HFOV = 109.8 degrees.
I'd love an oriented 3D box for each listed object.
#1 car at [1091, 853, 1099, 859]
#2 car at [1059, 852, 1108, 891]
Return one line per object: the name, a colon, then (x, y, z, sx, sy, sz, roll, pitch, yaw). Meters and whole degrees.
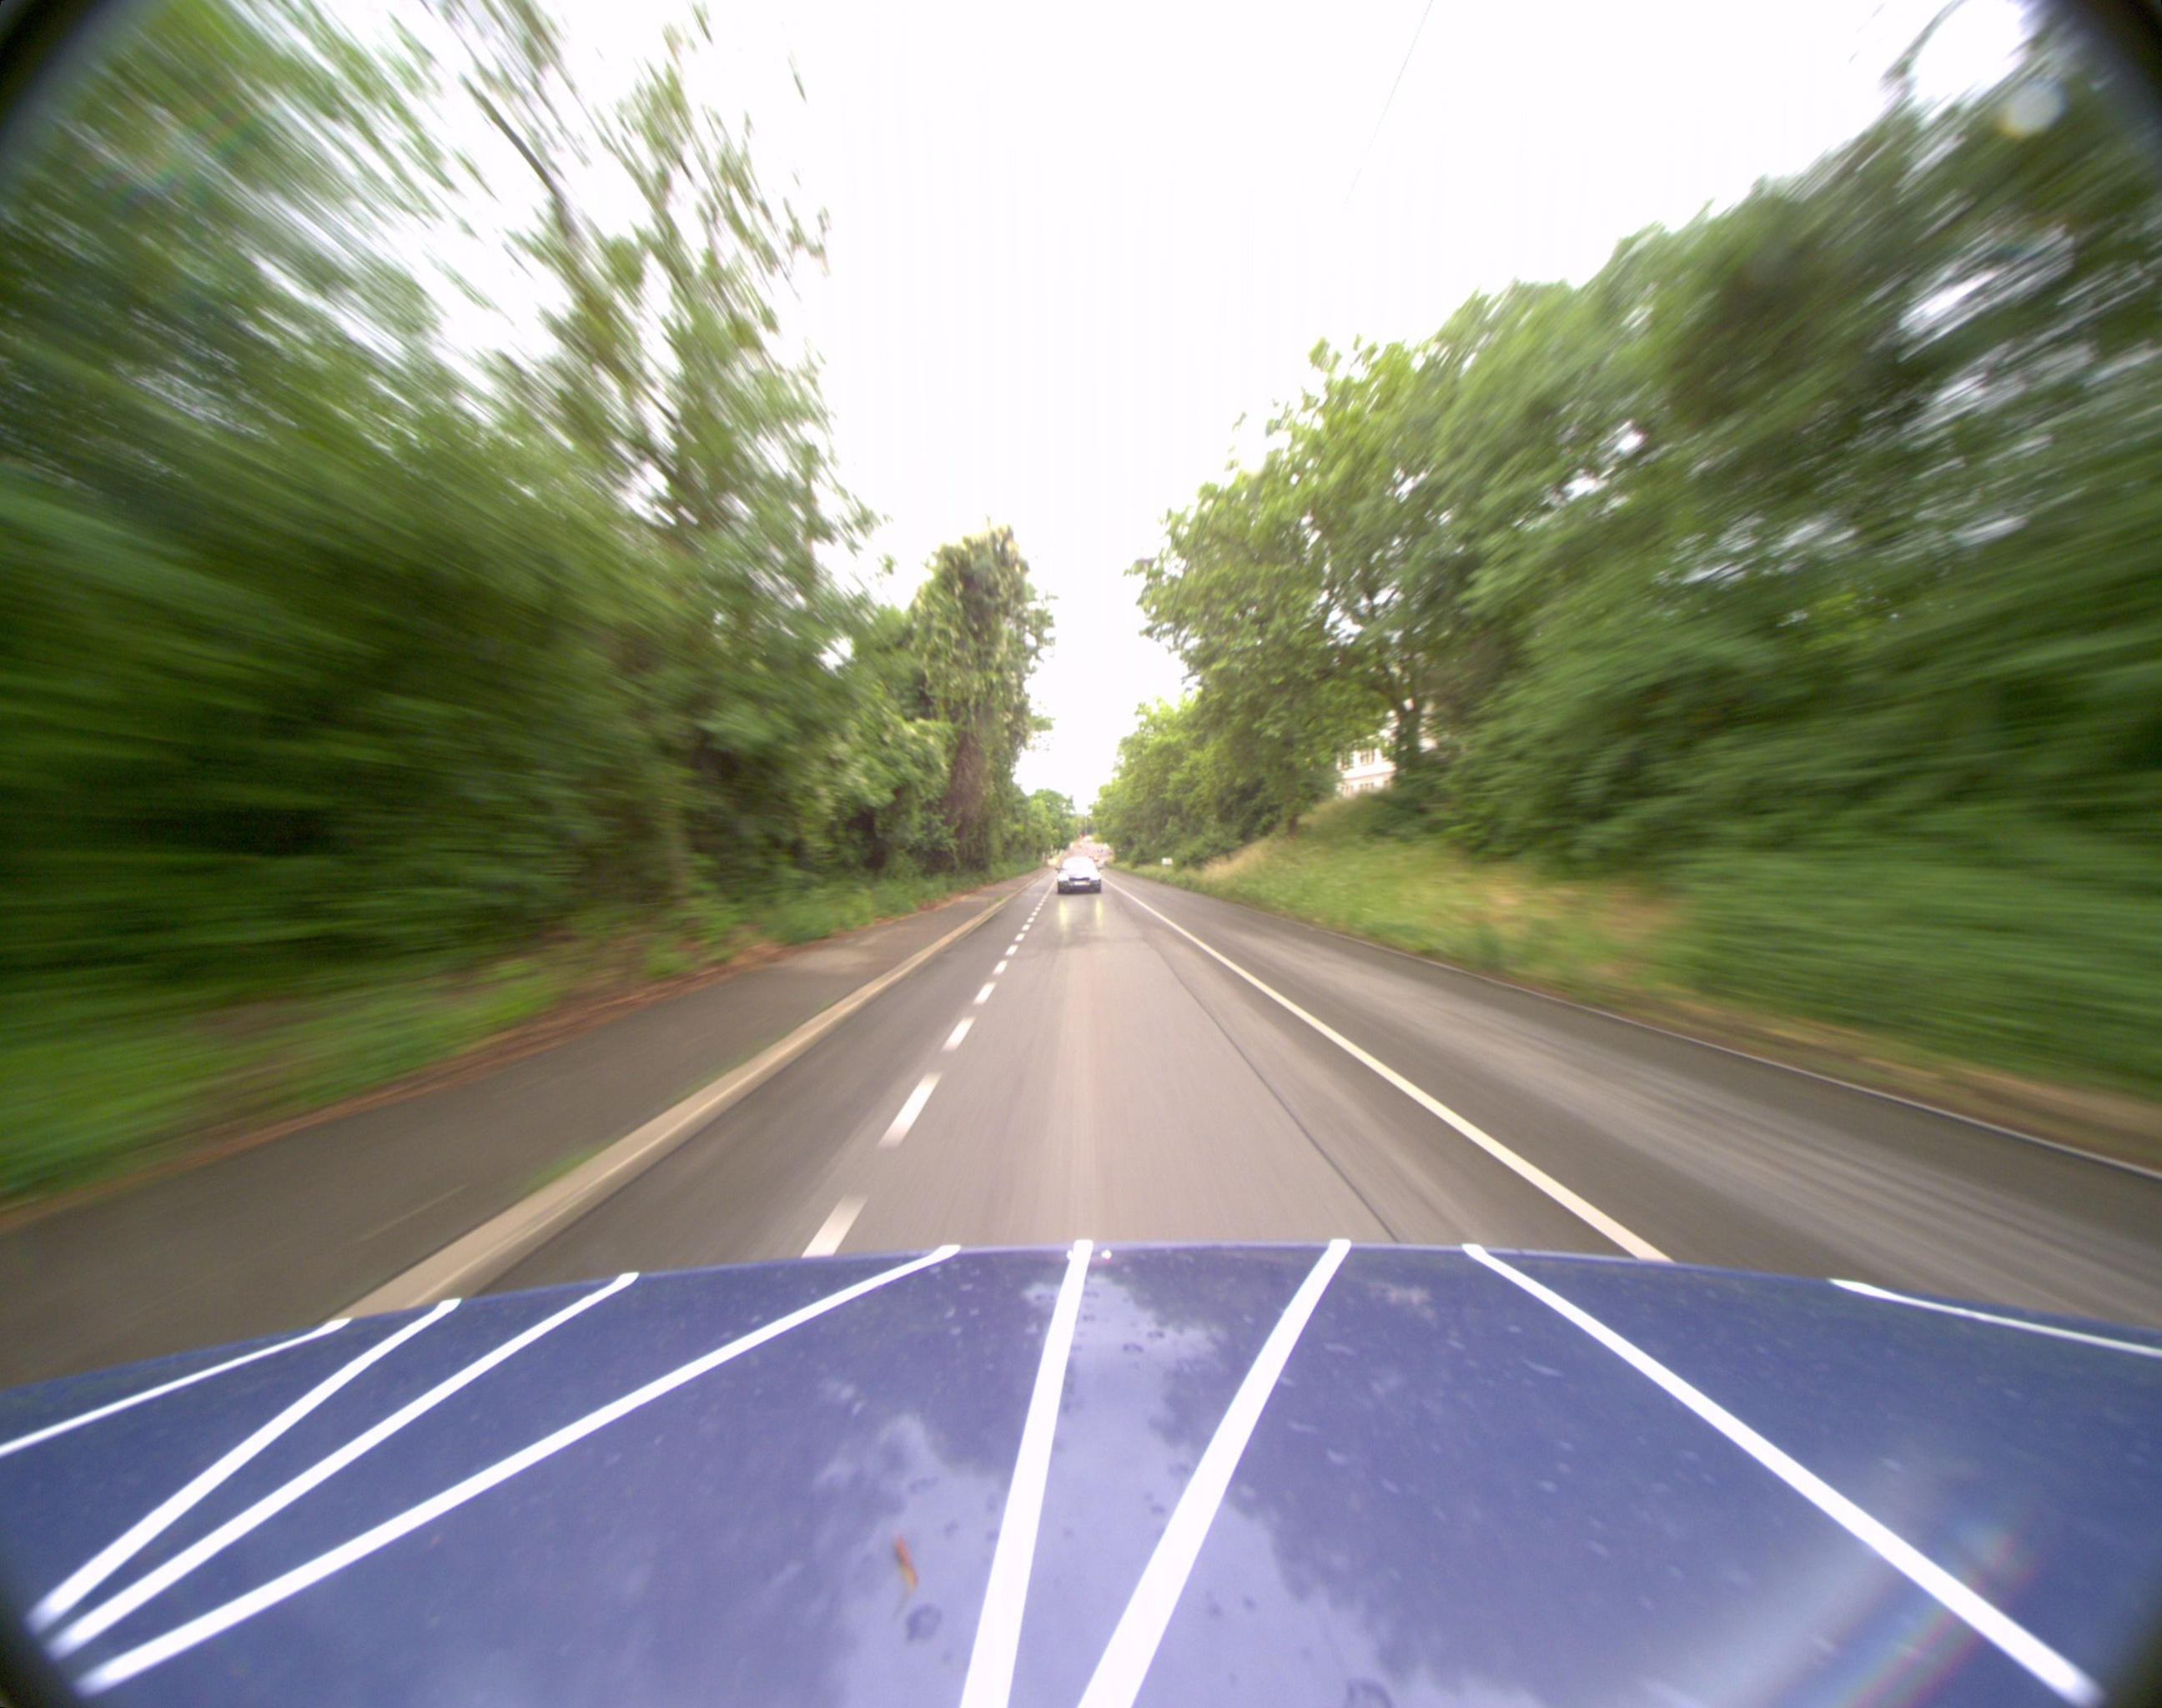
car: (3.853, 0.513, 208.971, 1.981, 1.497, 3.999, -2, 0, -1)
car: (0.072, 0.714, 33.137, 1.981, 1.497, 3.999, -2, 0, -1)
